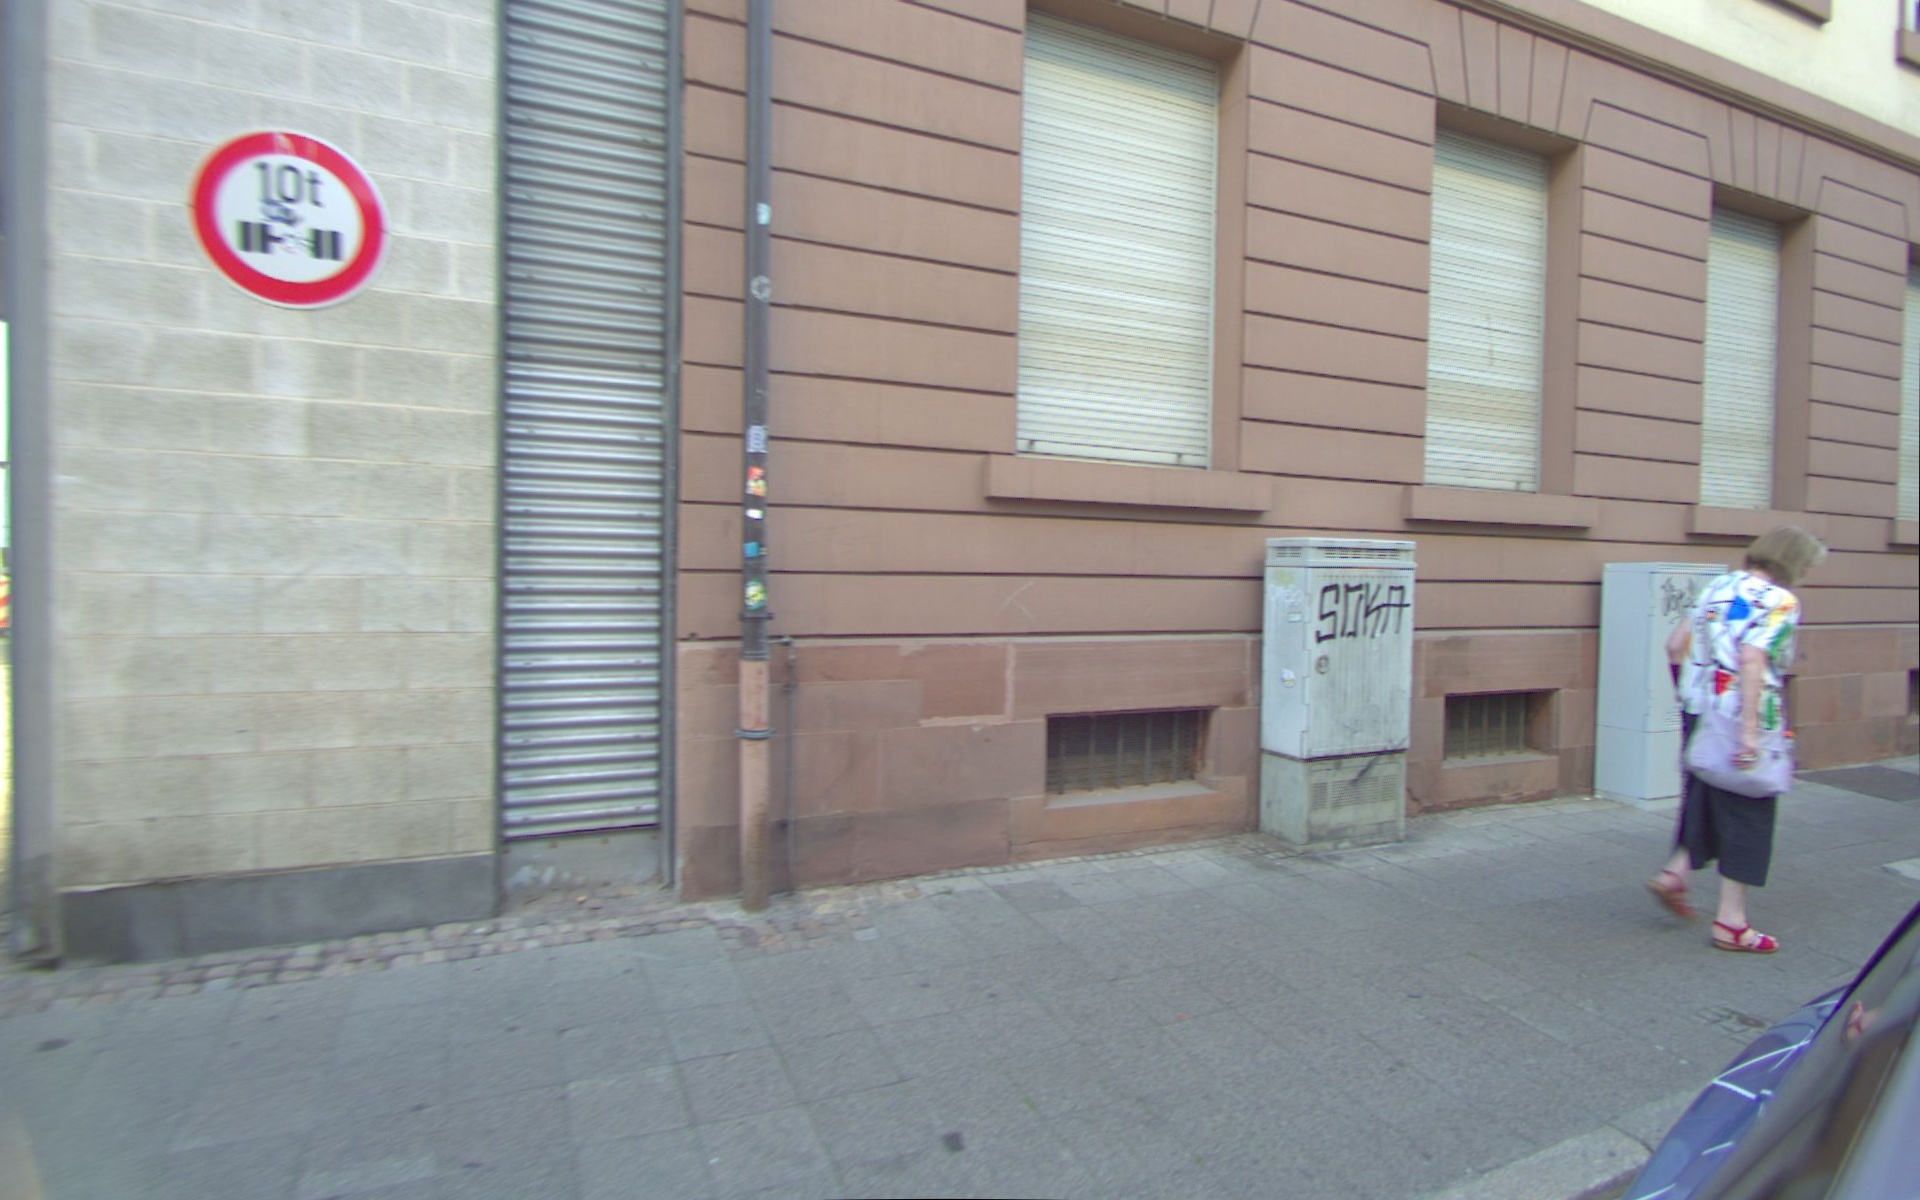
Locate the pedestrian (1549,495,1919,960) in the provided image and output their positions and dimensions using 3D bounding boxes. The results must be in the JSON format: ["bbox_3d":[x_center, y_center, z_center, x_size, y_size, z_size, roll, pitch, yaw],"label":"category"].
[{"bbox_3d":[3.151,0.454,4.140,0.911,1.691,0.814,1,2,-10],"label":"pedestrian"}]
